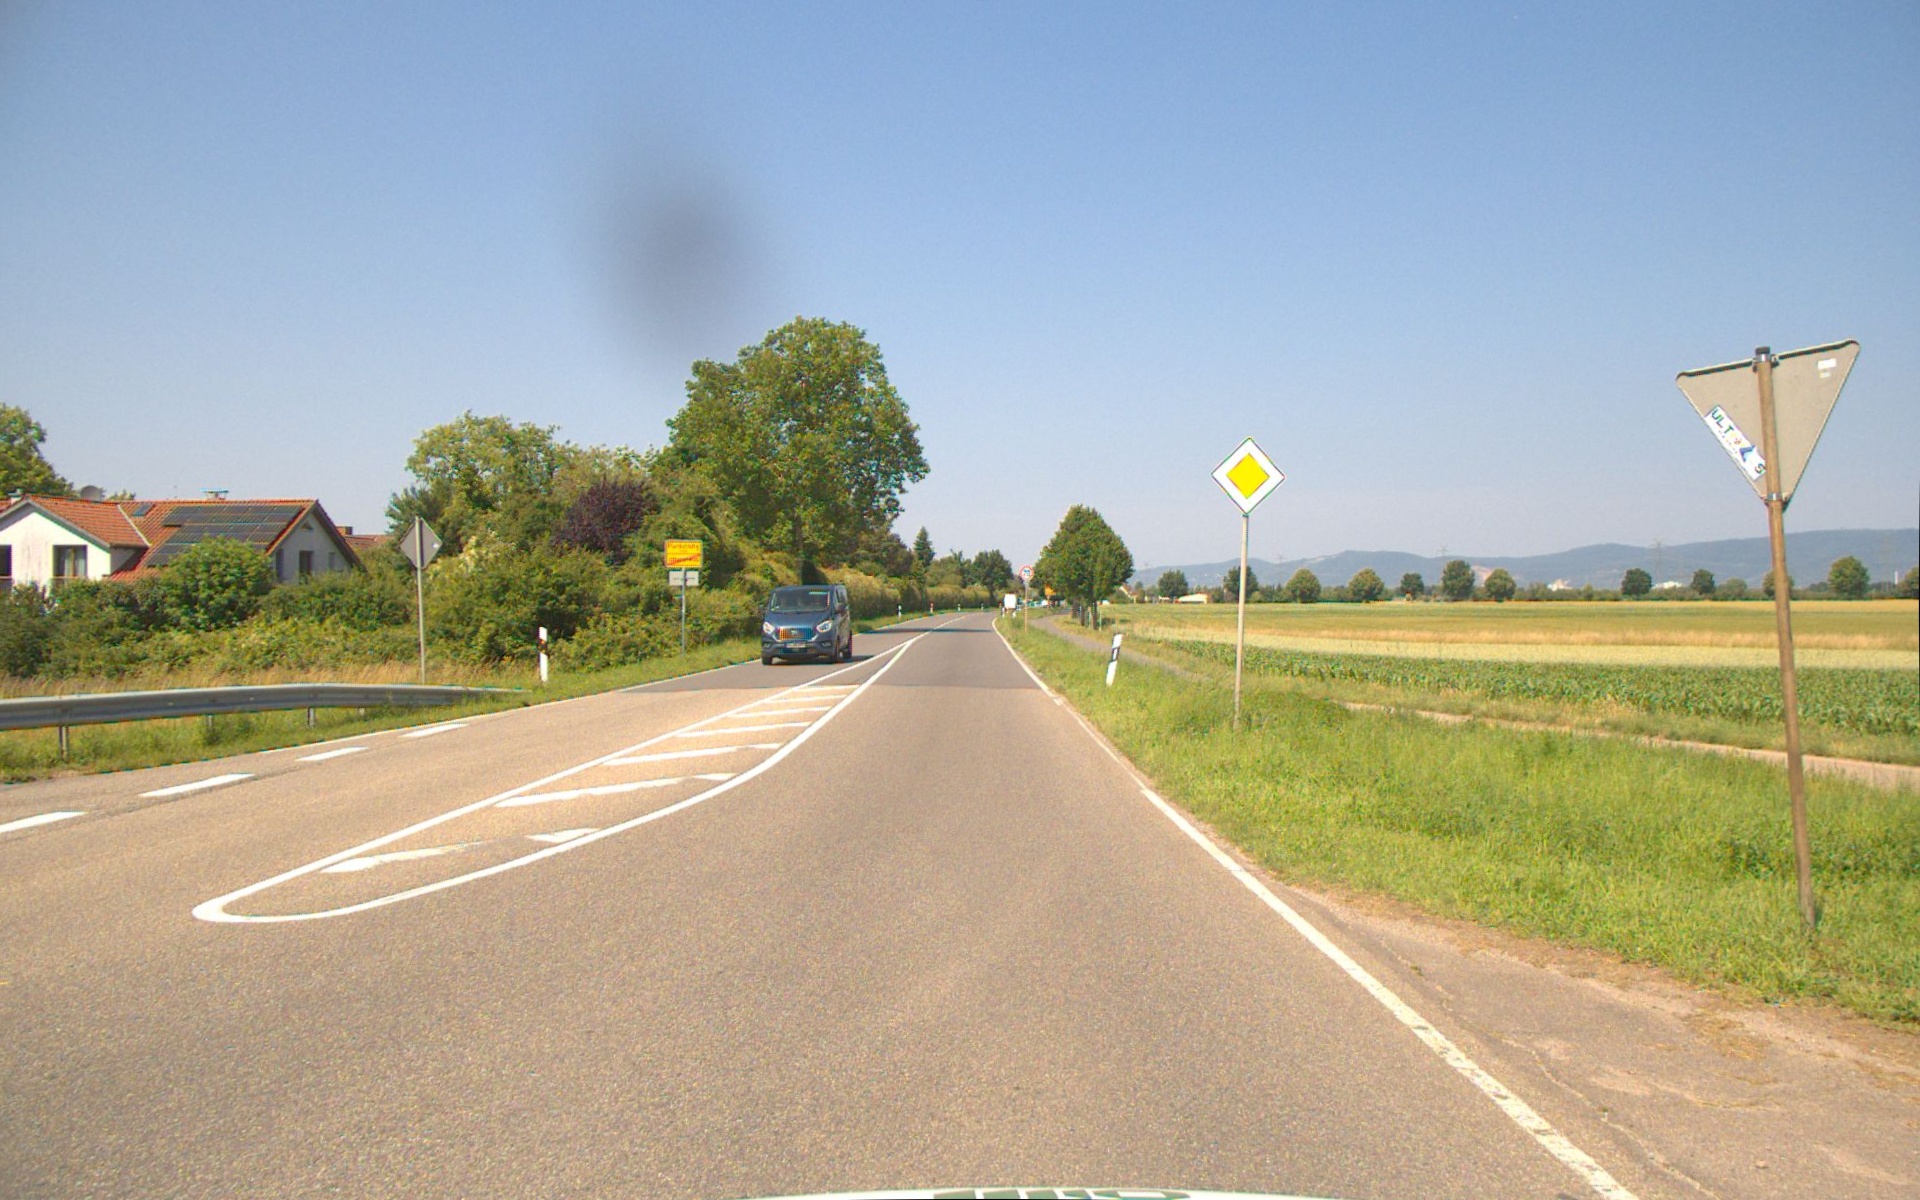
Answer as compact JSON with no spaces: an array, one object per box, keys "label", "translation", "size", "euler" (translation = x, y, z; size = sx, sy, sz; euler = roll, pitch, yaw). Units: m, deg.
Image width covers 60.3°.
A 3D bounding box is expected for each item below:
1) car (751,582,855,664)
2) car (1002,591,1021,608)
[{"label":"car","translation":[-4.047,0.547,43.422],"size":[2.100,1.985,5.248],"euler":[-1,0,1]},{"label":"car","translation":[8.165,-0.080,261.745],"size":[1.951,2.697,4.003],"euler":[-1,0,16]}]
